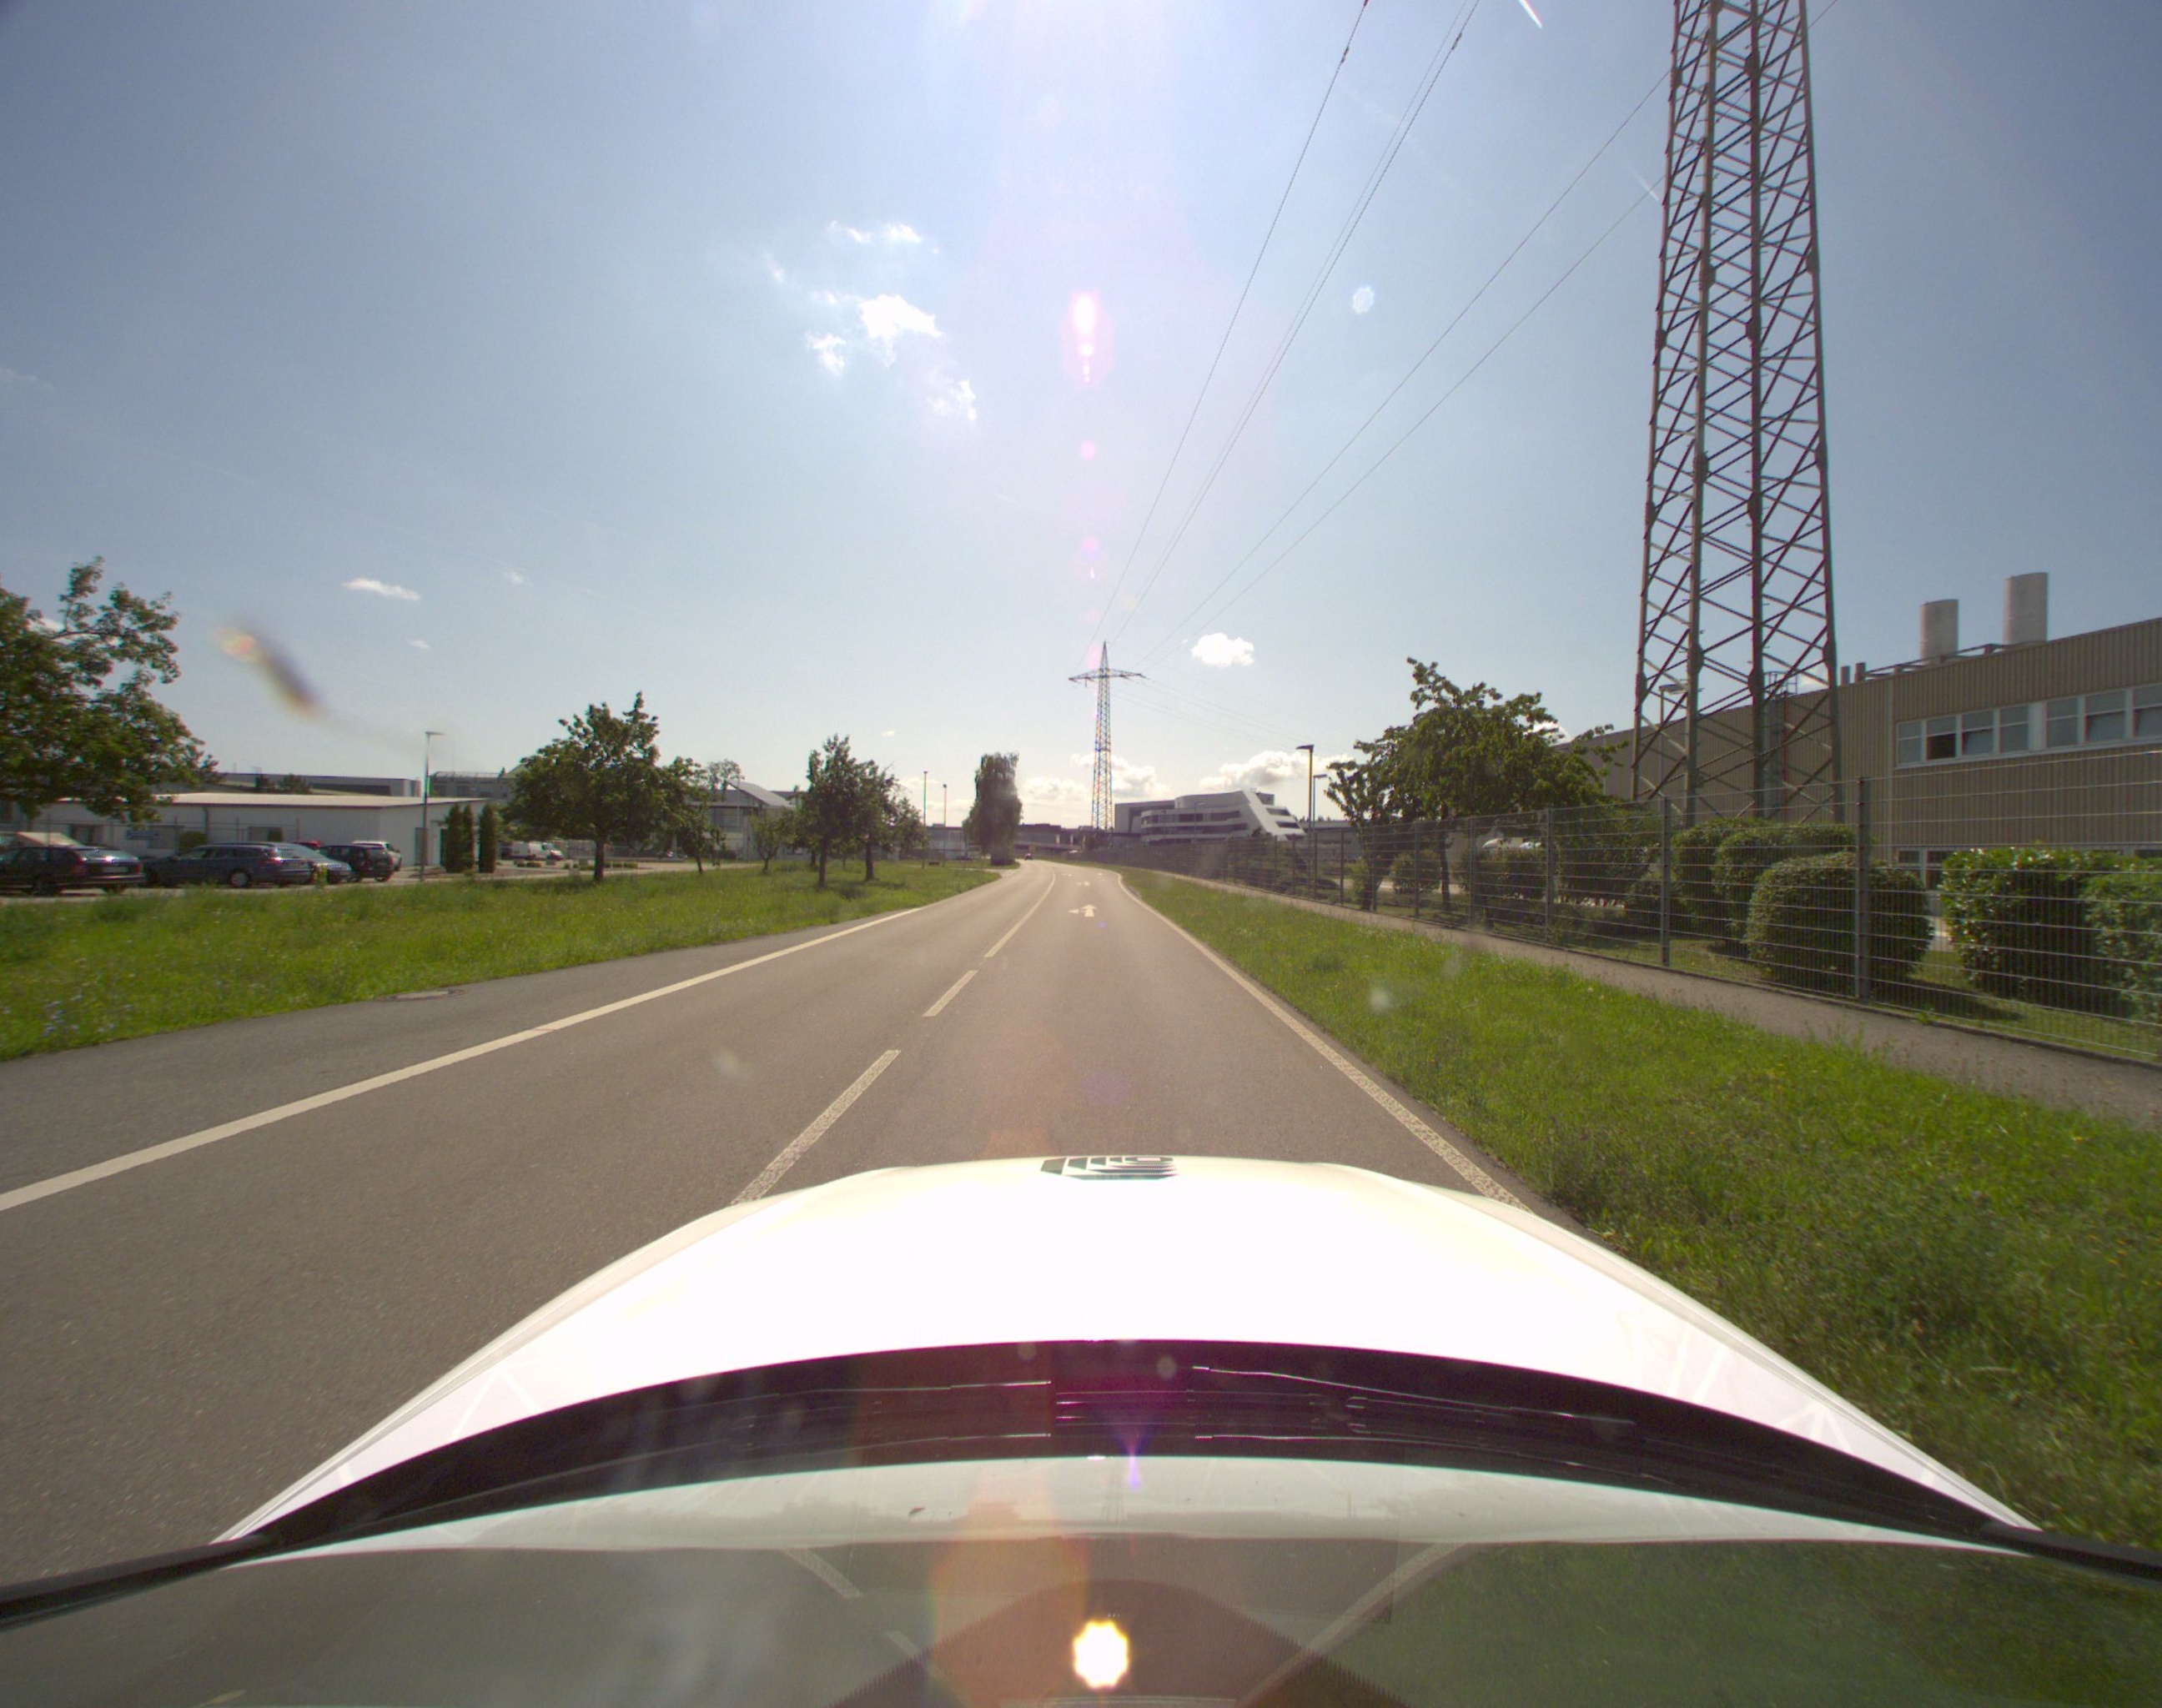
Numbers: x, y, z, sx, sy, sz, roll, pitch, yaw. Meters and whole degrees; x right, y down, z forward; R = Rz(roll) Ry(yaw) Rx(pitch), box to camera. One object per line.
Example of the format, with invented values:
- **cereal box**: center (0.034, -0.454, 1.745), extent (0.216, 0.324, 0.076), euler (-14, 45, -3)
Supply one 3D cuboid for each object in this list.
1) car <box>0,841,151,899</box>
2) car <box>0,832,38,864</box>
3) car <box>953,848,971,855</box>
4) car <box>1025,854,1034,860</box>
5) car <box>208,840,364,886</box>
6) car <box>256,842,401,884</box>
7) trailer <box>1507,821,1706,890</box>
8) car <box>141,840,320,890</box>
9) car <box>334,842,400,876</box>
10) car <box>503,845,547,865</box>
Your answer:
- **car**: center (-29.763, 0.438, 23.349), extent (3.980, 1.555, 1.663), euler (1, 0, -5)
- **car**: center (-52.984, -0.313, 38.797), extent (4.139, 1.484, 2.002), euler (1, 0, 3)
- **car**: center (-27.382, -0.563, 187.306), extent (3.982, 1.574, 1.996), euler (1, 0, -7)
- **car**: center (-12.699, 0.674, 200.664), extent (2.007, 1.508, 3.997), euler (1, 0, -2)
- **car**: center (-30.679, 0.350, 31.522), extent (3.980, 1.640, 1.855), euler (1, 0, -5)
- **car**: center (-31.310, 0.359, 33.988), extent (3.980, 1.640, 1.997), euler (1, 0, -5)
- **trailer**: center (31.901, 0.058, 50.533), extent (3.585, 3.735, 12.214), euler (0, 0, -6)
- **car**: center (-30.053, 0.372, 28.900), extent (3.980, 1.640, 1.997), euler (1, 0, -5)
- **car**: center (-36.865, 0.230, 42.150), extent (2.008, 1.640, 4.126), euler (1, 0, -34)
- **car**: center (-58.126, 0.076, 85.241), extent (1.993, 2.013, 4.726), euler (1, 0, -9)
